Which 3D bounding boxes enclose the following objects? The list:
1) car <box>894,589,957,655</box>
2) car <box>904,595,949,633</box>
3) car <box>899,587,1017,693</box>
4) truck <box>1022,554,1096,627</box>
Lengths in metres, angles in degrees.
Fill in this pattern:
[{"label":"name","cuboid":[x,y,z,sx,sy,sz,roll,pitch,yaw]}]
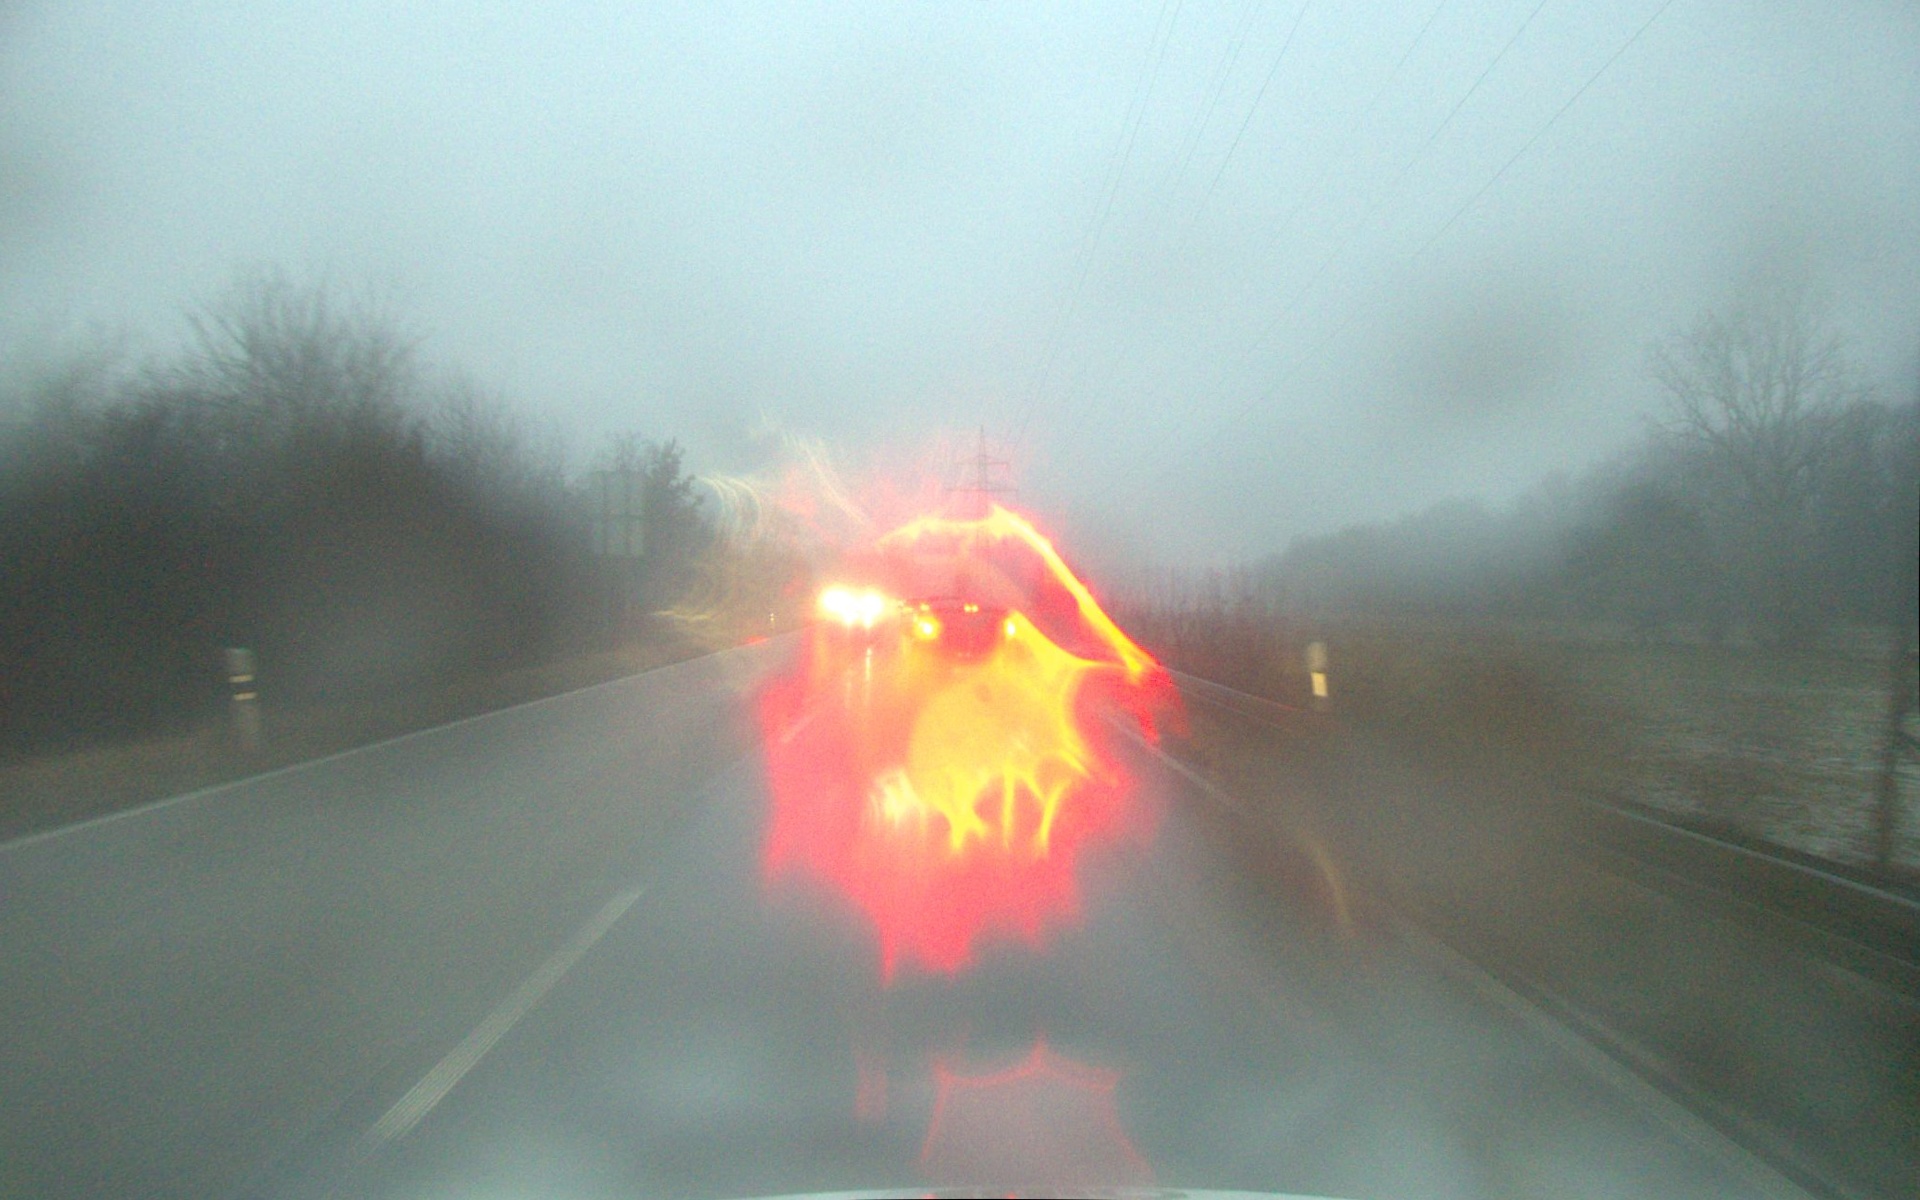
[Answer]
[{"label":"car","cuboid":[-1.171,0.696,54.182,1.816,2.049,3.996,1,0,-5]},{"label":"car","cuboid":[-1.525,0.624,74.153,1.734,1.619,4.160,1,0,-5]},{"label":"car","cuboid":[-0.084,0.553,24.259,1.471,1.423,3.196,1,0,-5]},{"label":"truck","cuboid":[4.329,-0.380,73.575,2.483,3.030,7.854,1,0,-2]}]
